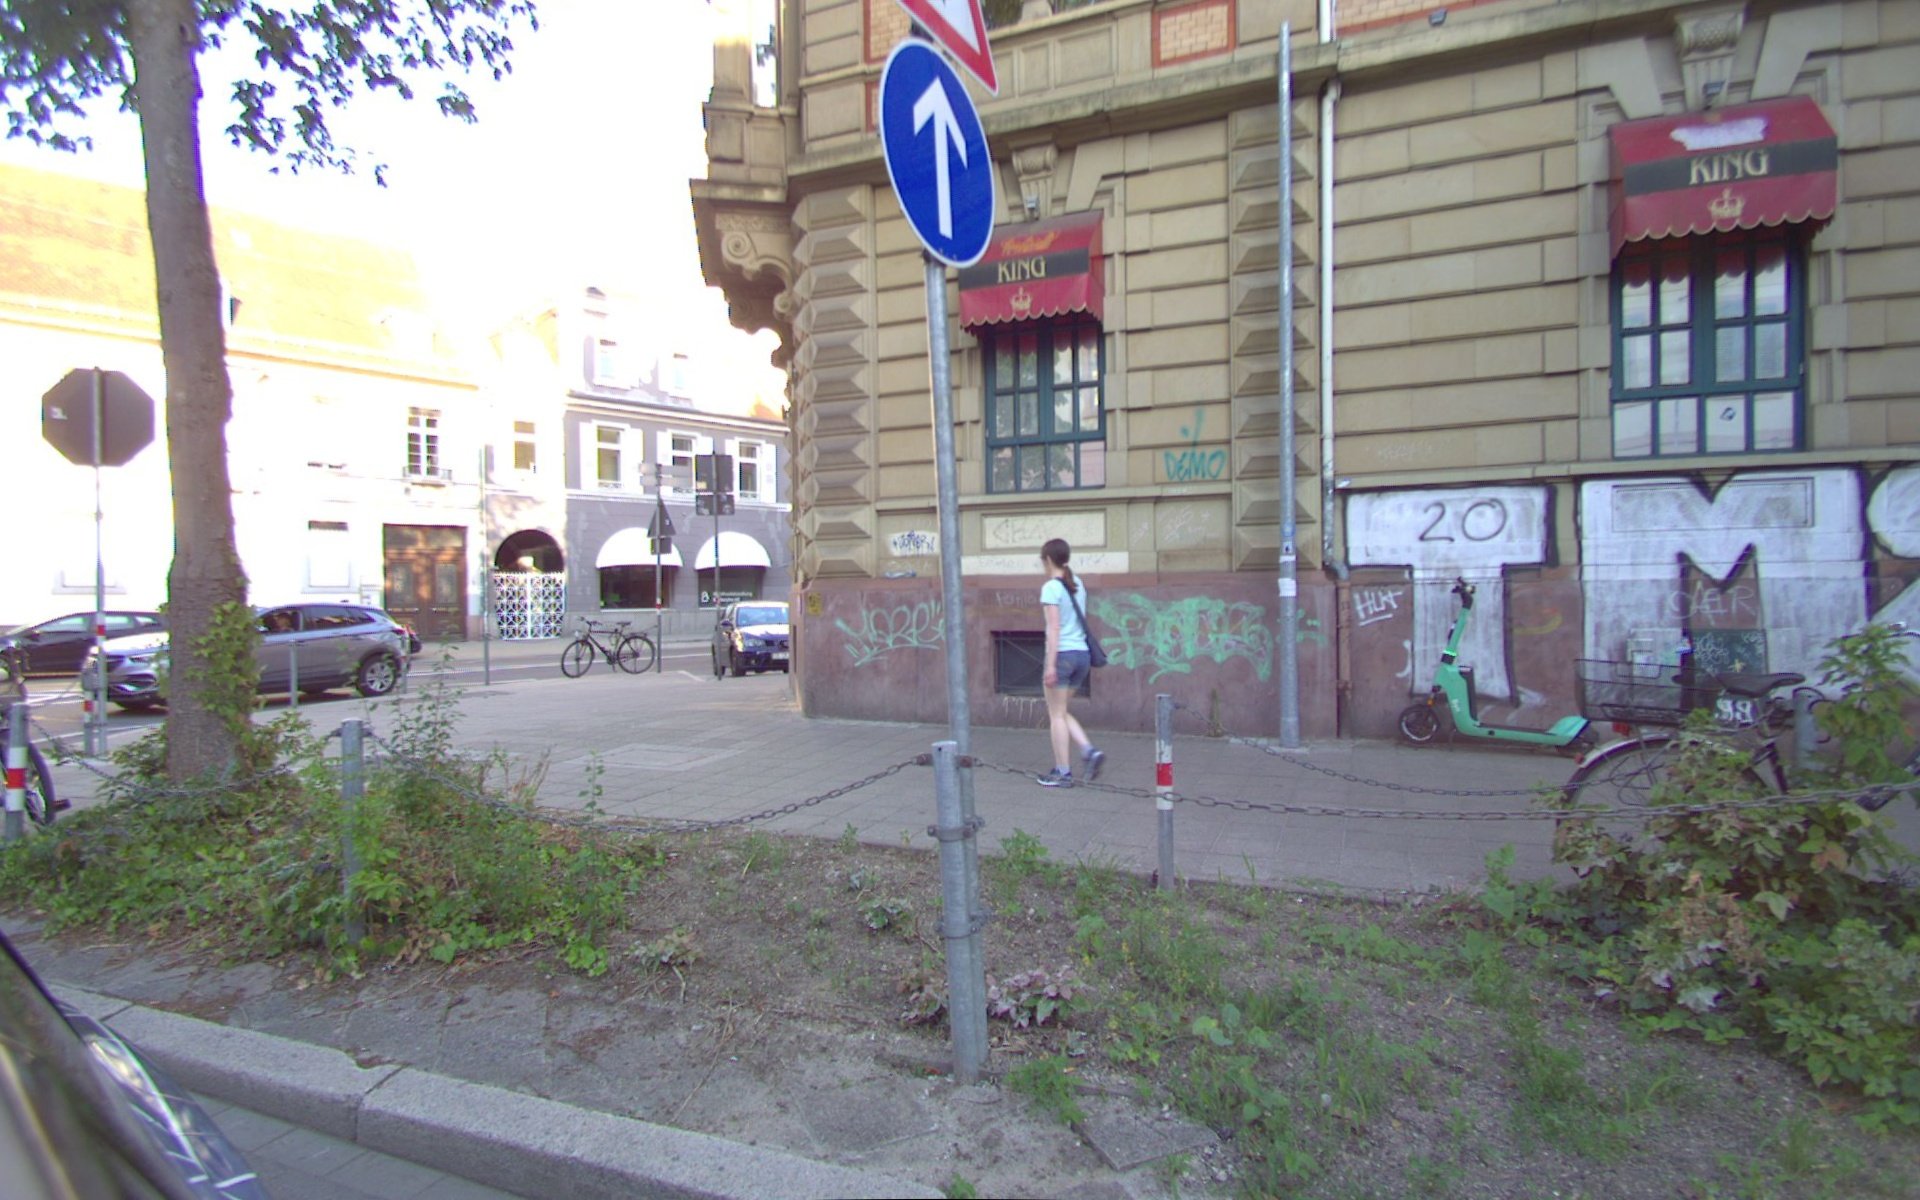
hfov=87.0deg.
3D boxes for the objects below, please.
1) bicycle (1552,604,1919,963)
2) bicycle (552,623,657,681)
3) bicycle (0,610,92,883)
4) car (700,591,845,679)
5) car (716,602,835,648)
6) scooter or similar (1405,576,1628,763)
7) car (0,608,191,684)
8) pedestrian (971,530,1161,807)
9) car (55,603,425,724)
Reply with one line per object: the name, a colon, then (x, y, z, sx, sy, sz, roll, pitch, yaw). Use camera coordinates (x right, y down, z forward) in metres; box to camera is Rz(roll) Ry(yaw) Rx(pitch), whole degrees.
bicycle: (3.096, 0.587, 3.443, 1.785, 1.116, 0.497, -1, 2, 18)
bicycle: (-6.479, 0.938, 18.478, 1.733, 0.979, 0.539, -1, -3, -28)
bicycle: (-5.328, 0.727, 5.481, 0.795, 1.234, 2.420, -5, 2, -43)
car: (-3.664, 0.704, 19.108, 1.857, 1.441, 4.373, -1, -3, -22)
car: (-6.542, 0.851, 36.018, 3.758, 1.502, 1.836, 0, 0, -42)
scooter or similar: (3.788, 0.472, 6.973, 1.265, 1.207, 0.382, -2, 1, 24)
car: (-19.878, 0.977, 22.539, 4.206, 1.541, 1.835, 0, 0, -43)
pedestrian: (0.655, 0.385, 6.325, 0.644, 1.576, 0.907, -4, 2, -44)
car: (-10.915, 0.846, 15.745, 1.936, 1.582, 4.324, 0, 0, 24)
